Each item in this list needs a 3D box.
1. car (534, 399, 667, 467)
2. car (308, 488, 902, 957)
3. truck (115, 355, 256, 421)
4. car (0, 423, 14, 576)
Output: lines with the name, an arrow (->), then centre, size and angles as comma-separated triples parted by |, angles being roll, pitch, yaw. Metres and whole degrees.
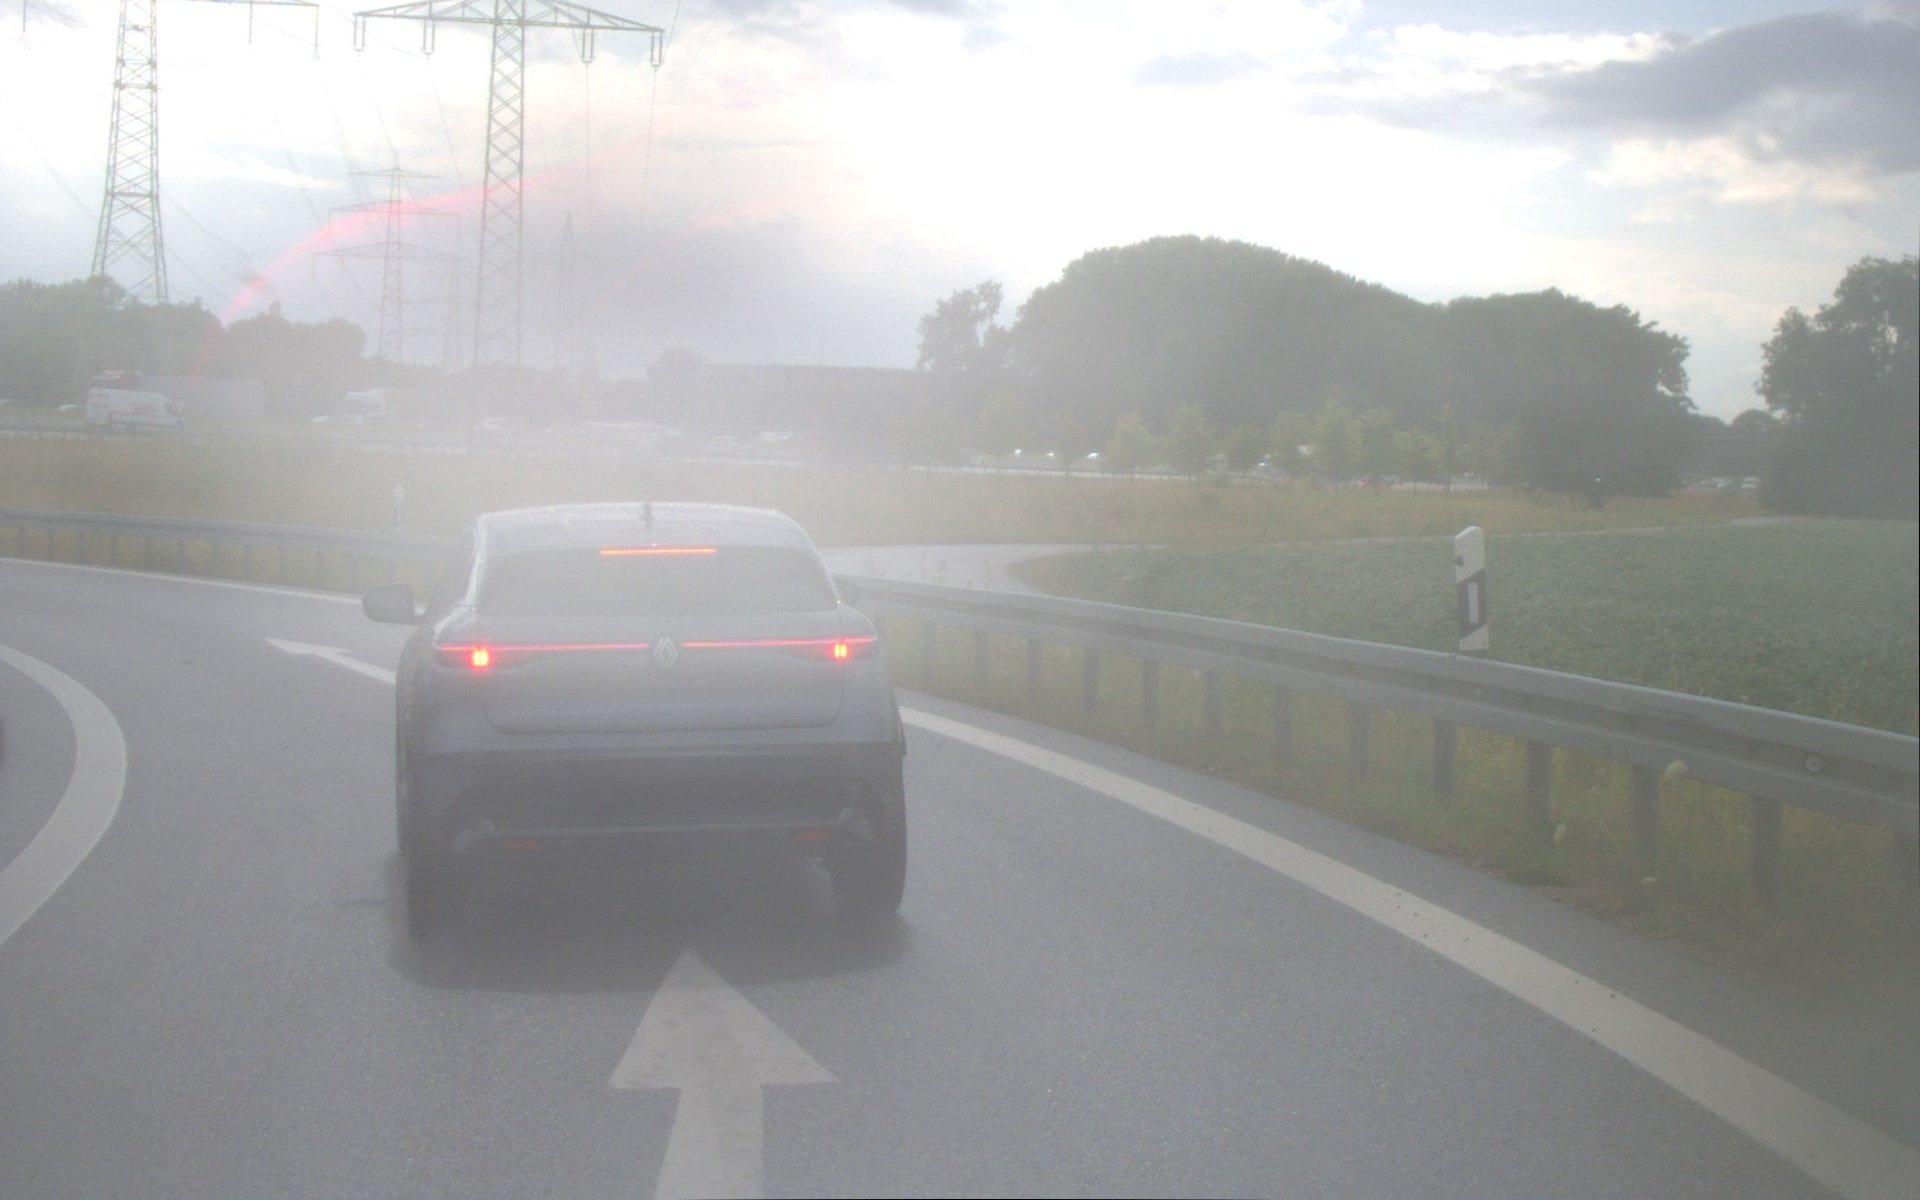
car -> -21.183, -9.852, 203.220 | 3.388, 3.598, 9.032 | 4, 2, 26
car -> -1.399, 0.347, 13.796 | 1.993, 1.561, 4.150 | -1, 2, -5
truck -> -54.746, -14.977, 243.579 | 1.997, 4.109, 12.479 | 4, 2, 28
car -> -14.831, -1.533, 47.351 | 2.121, 2.011, 5.536 | 2, 3, -29
